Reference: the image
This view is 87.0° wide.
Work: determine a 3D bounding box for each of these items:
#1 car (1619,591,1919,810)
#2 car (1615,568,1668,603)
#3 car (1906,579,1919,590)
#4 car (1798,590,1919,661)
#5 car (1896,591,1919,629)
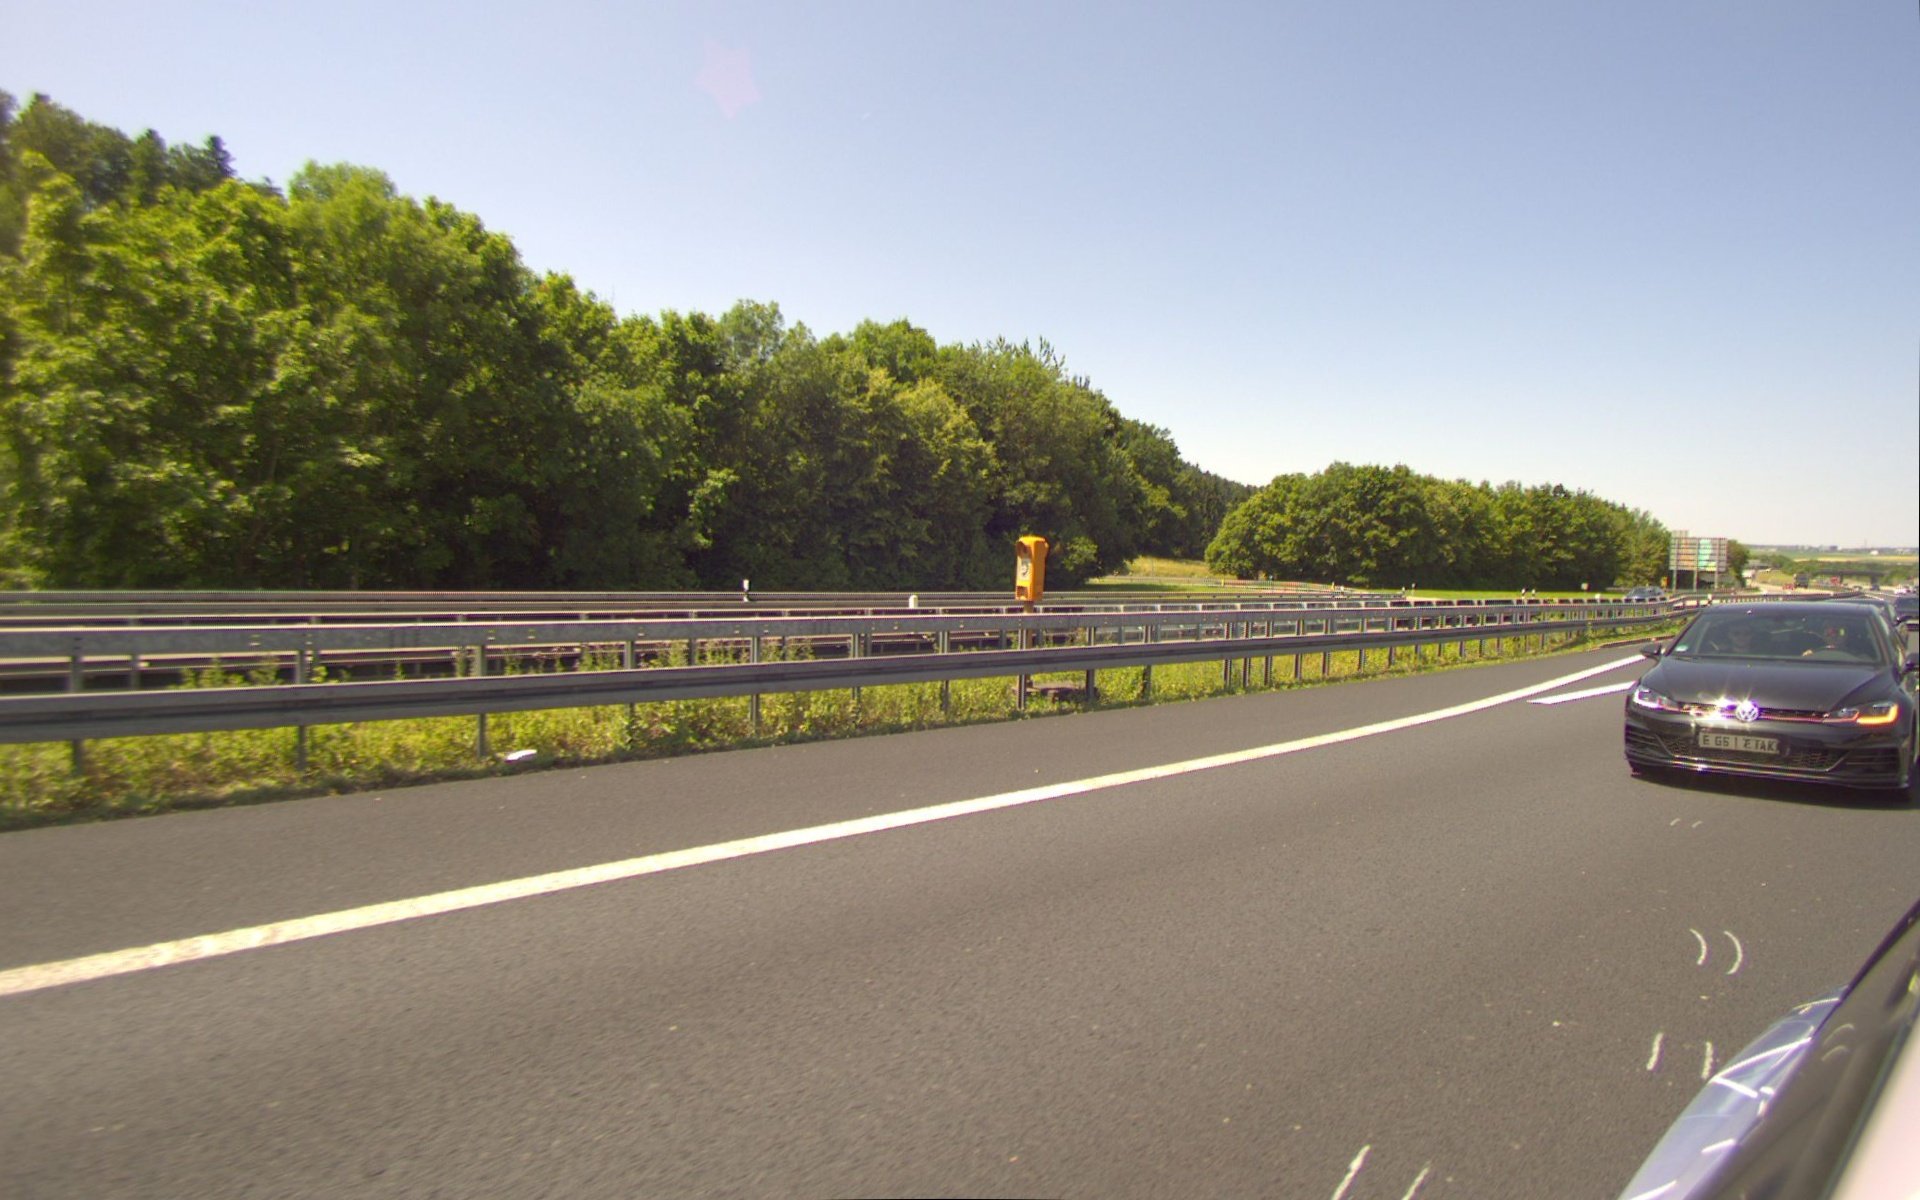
[{"bbox_3d":[7.291,0.660,8.804,3.901,1.453,1.796,-1,1,-44],"label":"car"},{"bbox_3d":[40.863,-0.865,60.663,1.993,2.039,3.938,1,1,43],"label":"car"},{"bbox_3d":[177.214,-2.944,187.963,3.935,2.038,1.995,-1,2,-45],"label":"car"},{"bbox_3d":[20.477,0.513,22.897,3.696,1.417,1.780,-1,2,-42],"label":"car"},{"bbox_3d":[40.265,0.397,42.077,1.886,1.491,3.809,1,2,42],"label":"car"}]
